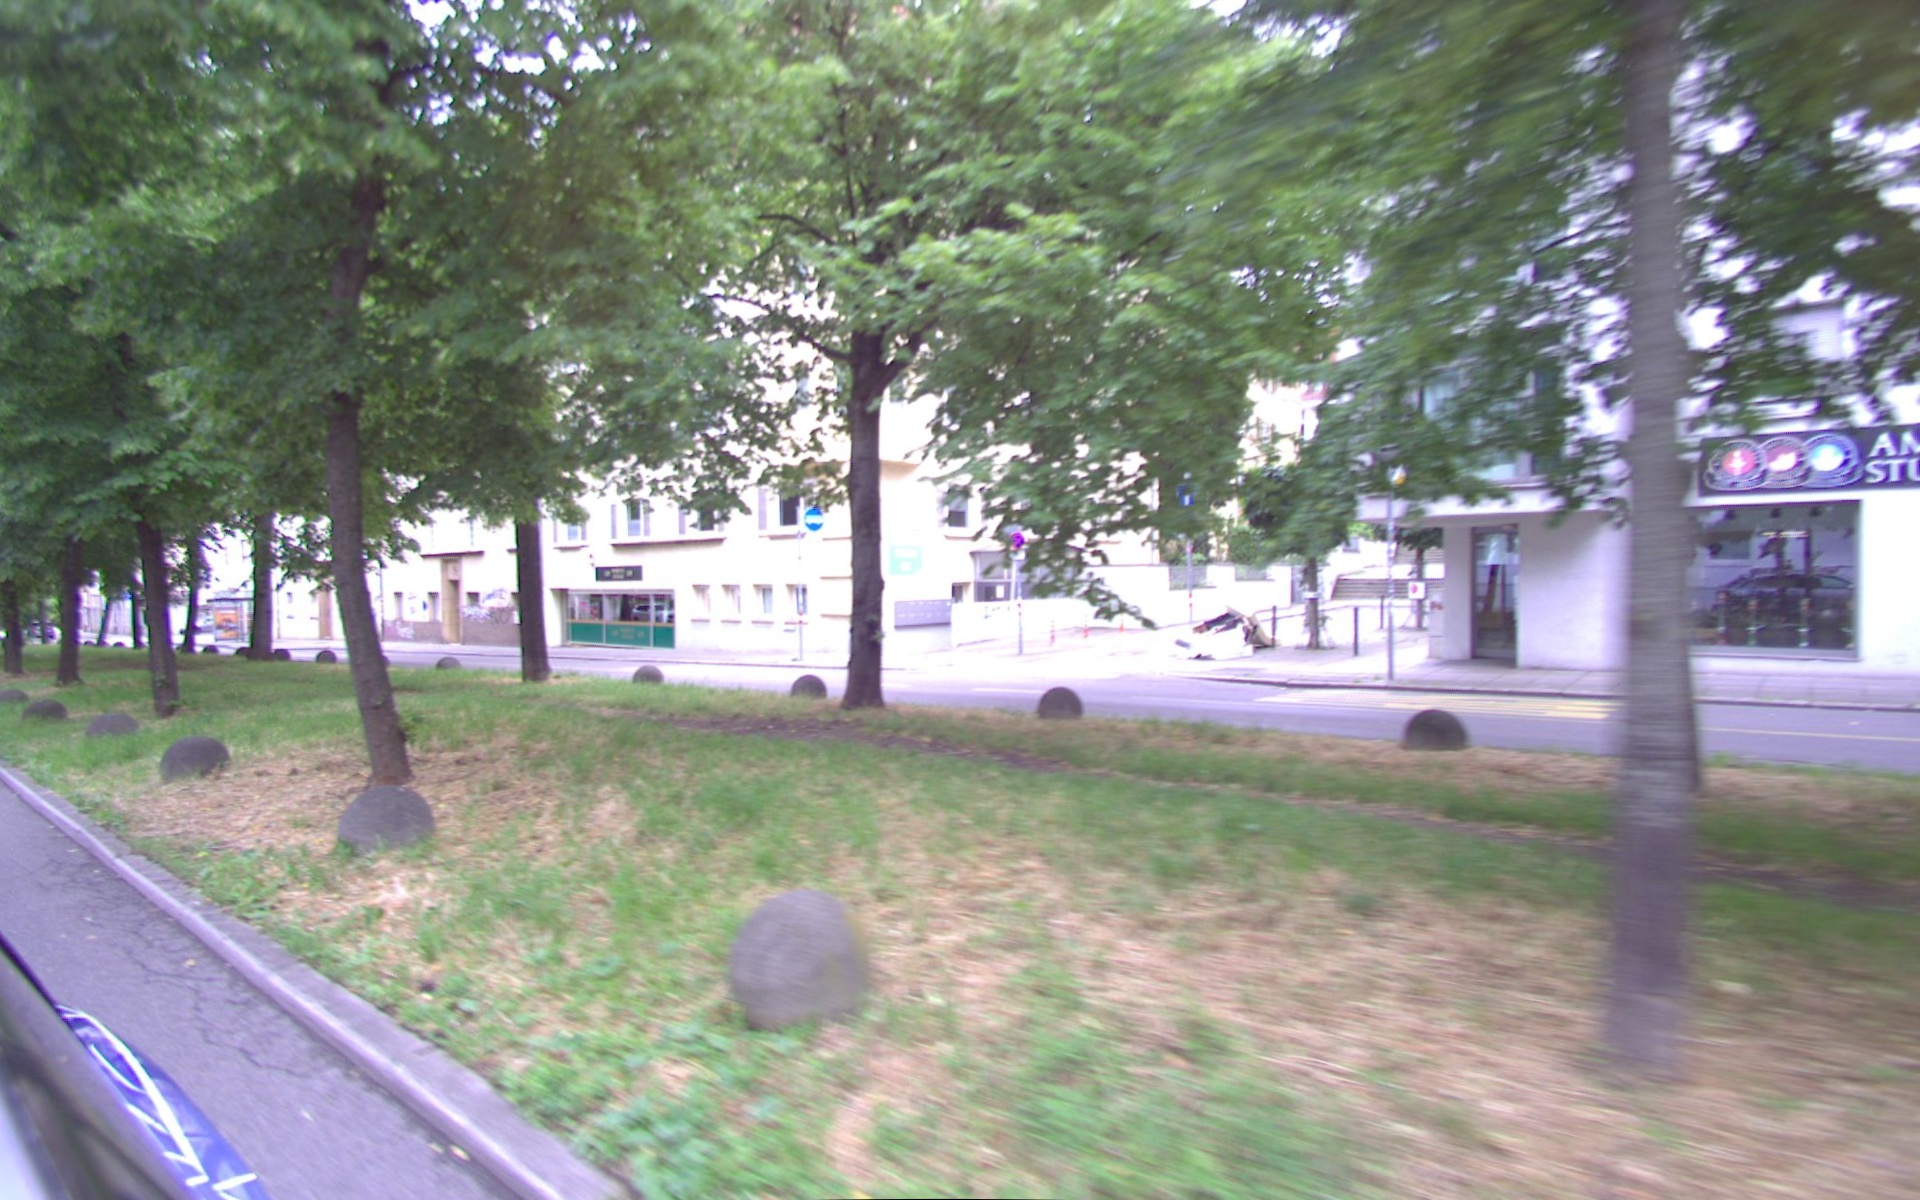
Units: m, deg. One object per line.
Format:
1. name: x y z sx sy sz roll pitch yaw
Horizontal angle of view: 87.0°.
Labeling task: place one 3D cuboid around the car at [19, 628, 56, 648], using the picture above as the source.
1. car: -80.876 3.358 88.705 4.362 1.641 1.929 -2 -1 41

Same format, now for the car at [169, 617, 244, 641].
1. car: -57.641 2.189 77.470 2.048 1.430 4.242 -3 2 44
